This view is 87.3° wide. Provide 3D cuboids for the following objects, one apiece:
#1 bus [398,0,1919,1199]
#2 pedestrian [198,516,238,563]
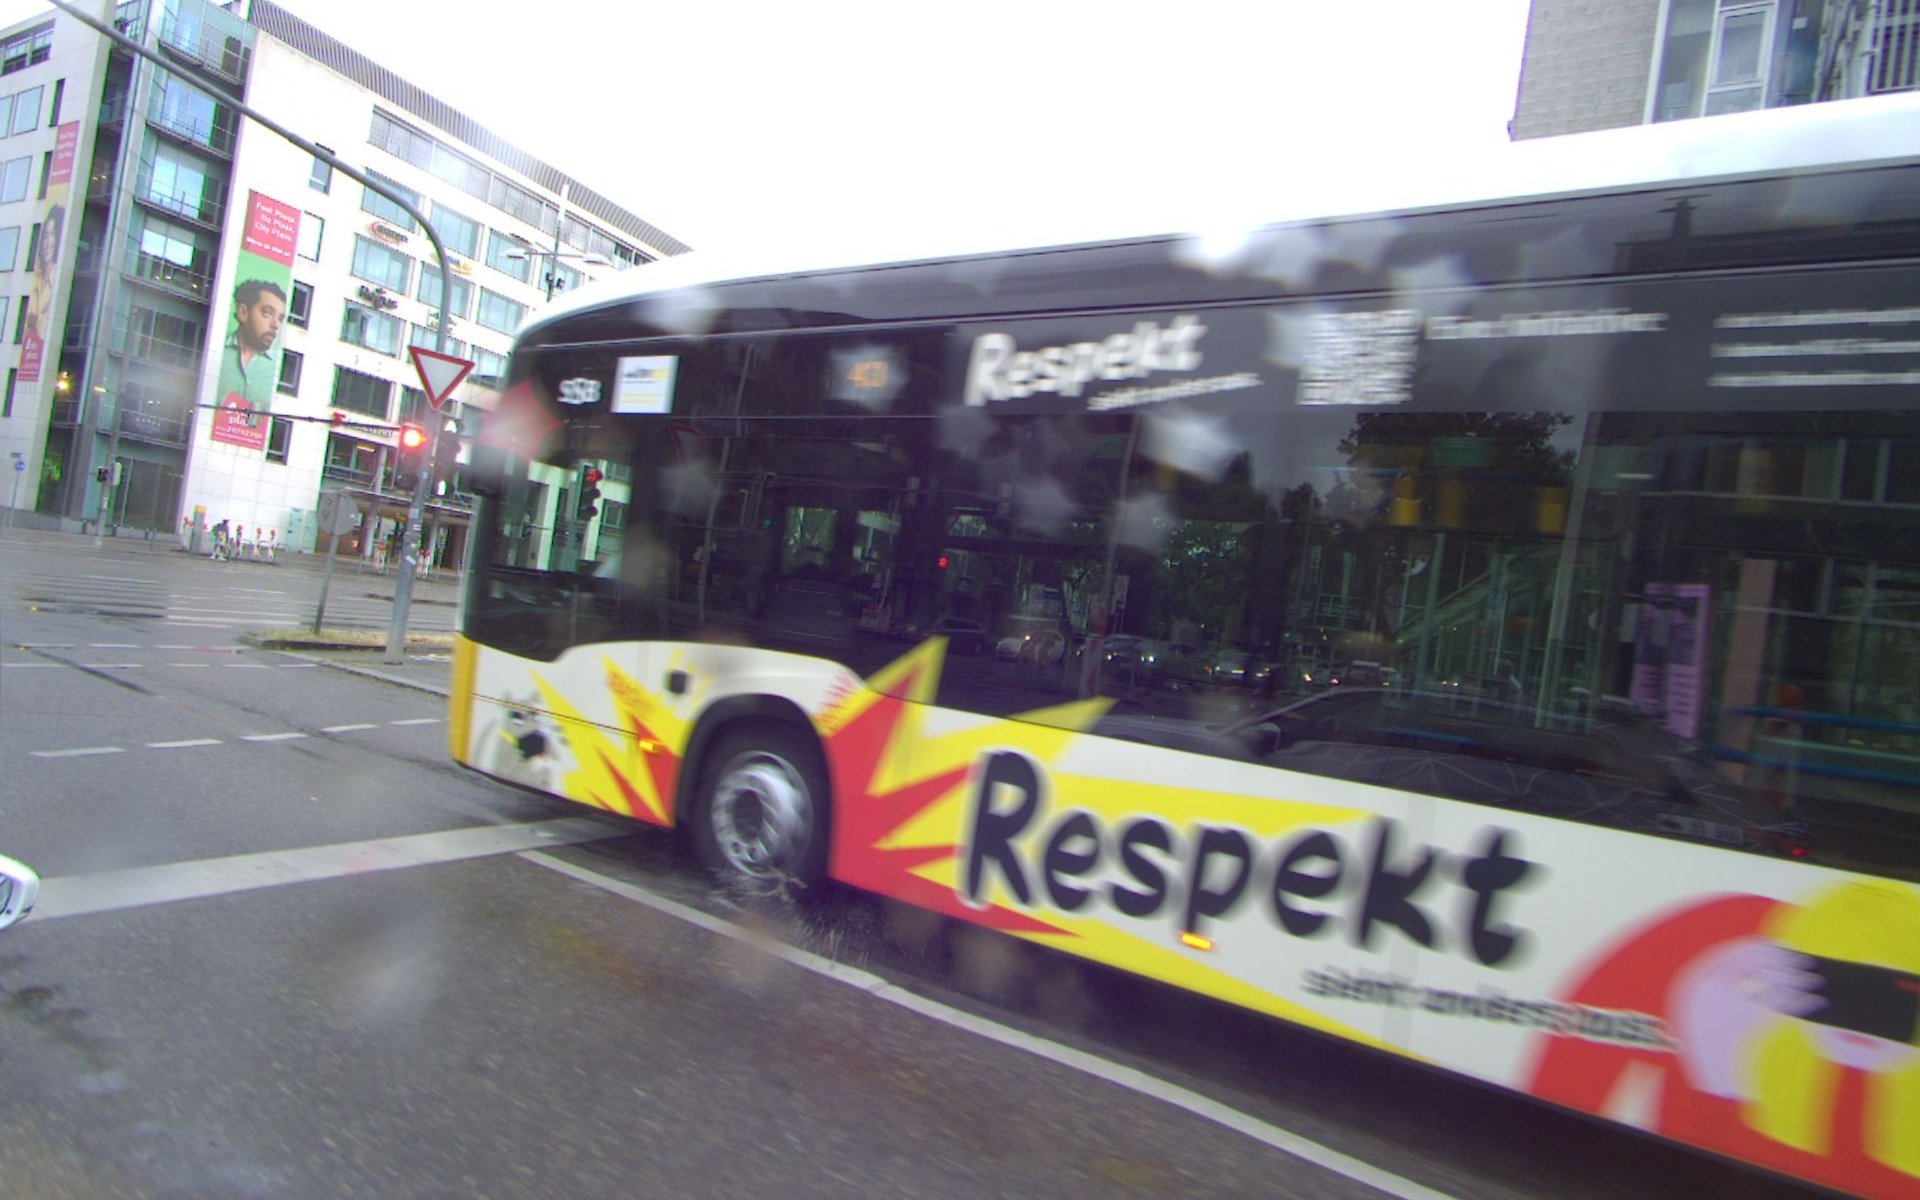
[{"bbox_3d":[1.619,0.063,4.755,9.596,3.490,2.888,6,-2,32],"label":"bus"},{"bbox_3d":[-31.703,-2.579,43.013,0.822,1.838,0.963,6,-1,31],"label":"pedestrian"}]
